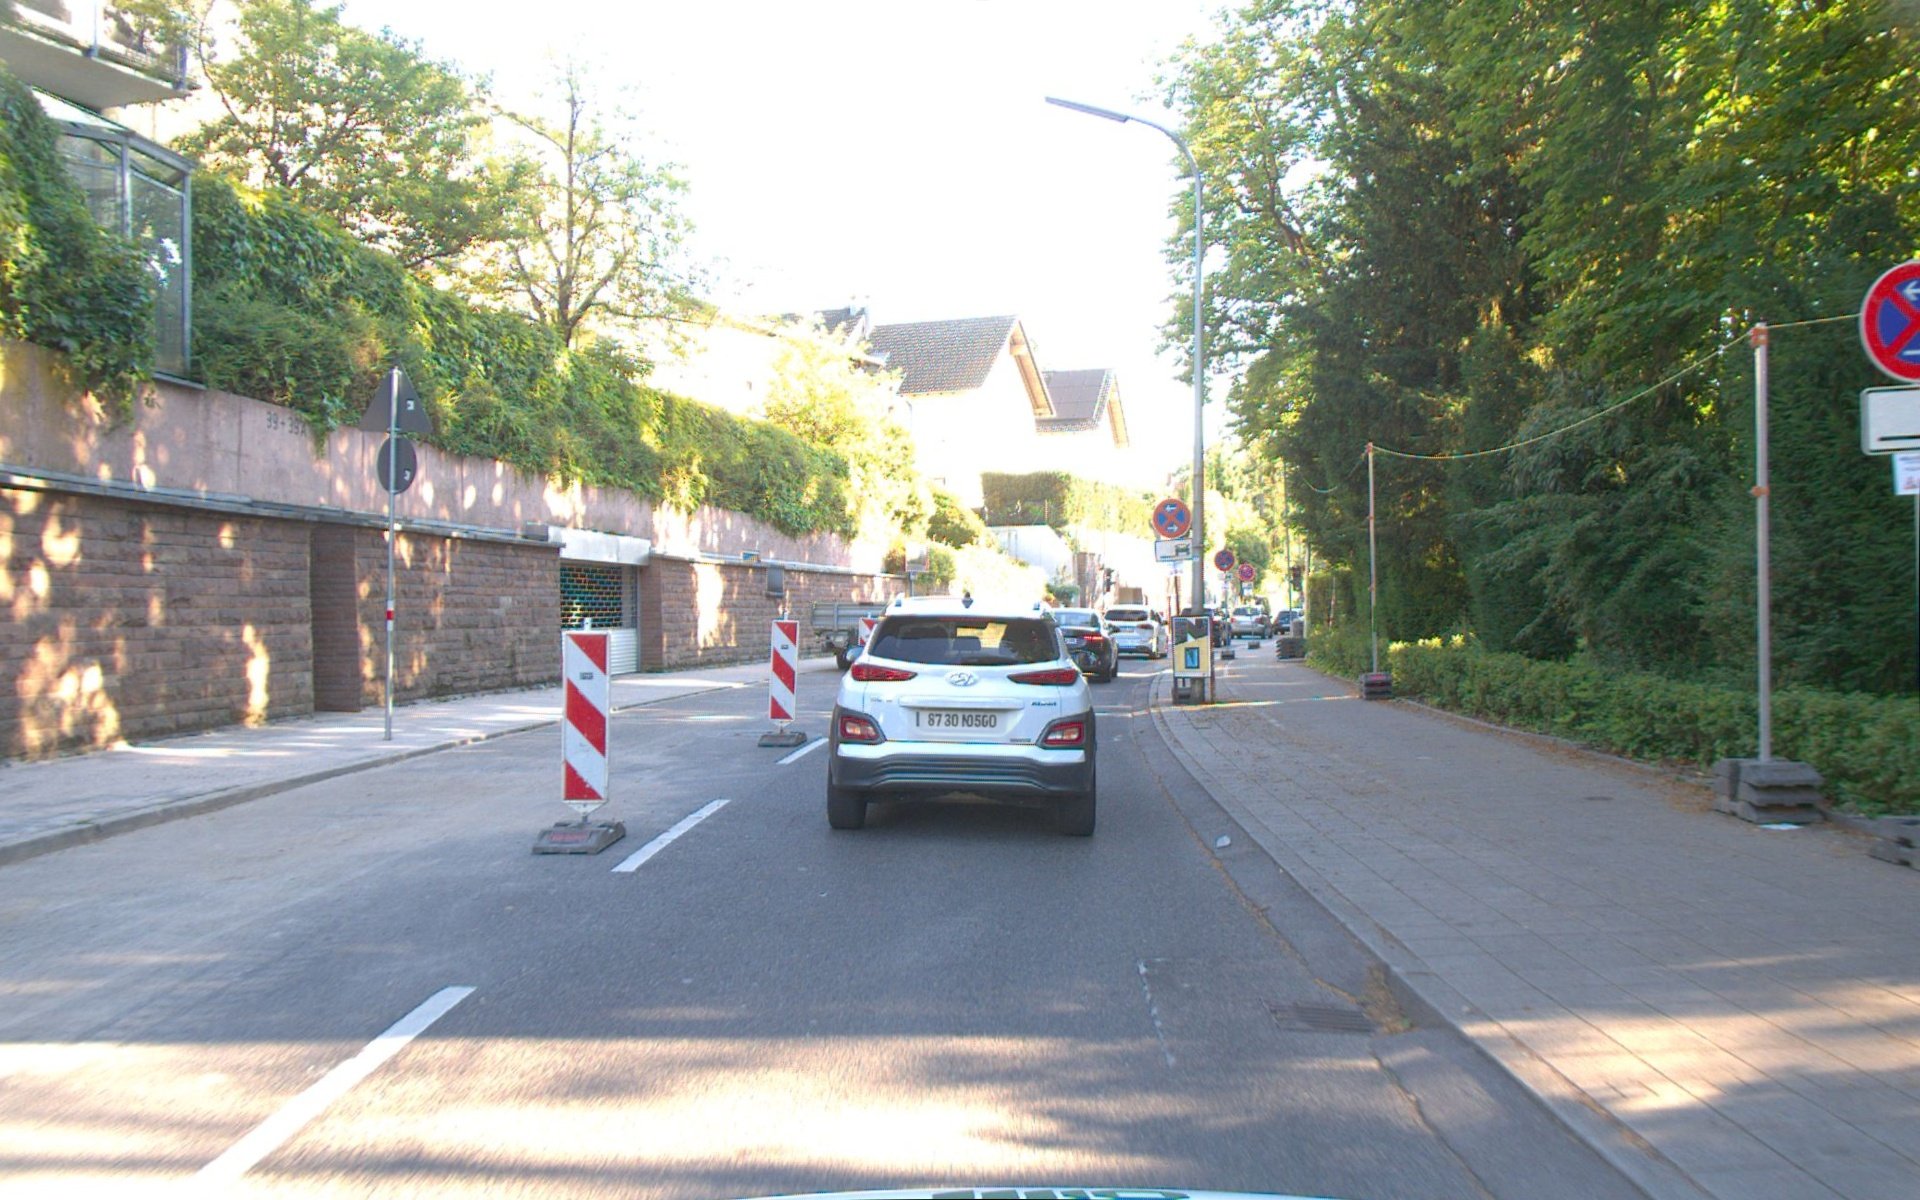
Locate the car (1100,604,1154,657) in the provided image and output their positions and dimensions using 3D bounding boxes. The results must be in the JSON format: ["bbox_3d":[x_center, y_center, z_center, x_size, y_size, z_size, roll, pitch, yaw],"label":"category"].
[{"bbox_3d":[4.927,0.872,48.726,1.537,1.503,3.550,0,0,6],"label":"car"}]

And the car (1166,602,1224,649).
[{"bbox_3d":[9.143,0.961,64.198,1.658,1.559,3.885,-5,0,15],"label":"car"}]

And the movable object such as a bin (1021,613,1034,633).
[{"bbox_3d":[2.842,0.960,69.193,0.444,0.848,0.392,-1,0,18],"label":"movable object such as a bin"}]

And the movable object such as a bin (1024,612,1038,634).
[{"bbox_3d":[2.995,0.968,69.639,0.446,0.899,0.501,0,0,19],"label":"movable object such as a bin"}]

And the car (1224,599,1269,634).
[{"bbox_3d":[13.816,0.781,79.552,1.658,1.472,3.884,-4,0,15],"label":"car"}]

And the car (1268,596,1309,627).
[{"bbox_3d":[18.430,0.612,92.757,1.658,1.530,3.632,-4,0,19],"label":"car"}]

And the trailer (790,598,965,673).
[{"bbox_3d":[-1.687,0.729,37.513,2.583,1.515,7.124,0,0,9],"label":"trailer"}]

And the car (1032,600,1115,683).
[{"bbox_3d":[2.362,0.799,33.774,1.480,1.560,3.550,-1,0,7],"label":"car"}]

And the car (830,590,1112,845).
[{"bbox_3d":[0.023,0.726,12.216,1.736,1.569,3.999,0,0,-1],"label":"car"}]
